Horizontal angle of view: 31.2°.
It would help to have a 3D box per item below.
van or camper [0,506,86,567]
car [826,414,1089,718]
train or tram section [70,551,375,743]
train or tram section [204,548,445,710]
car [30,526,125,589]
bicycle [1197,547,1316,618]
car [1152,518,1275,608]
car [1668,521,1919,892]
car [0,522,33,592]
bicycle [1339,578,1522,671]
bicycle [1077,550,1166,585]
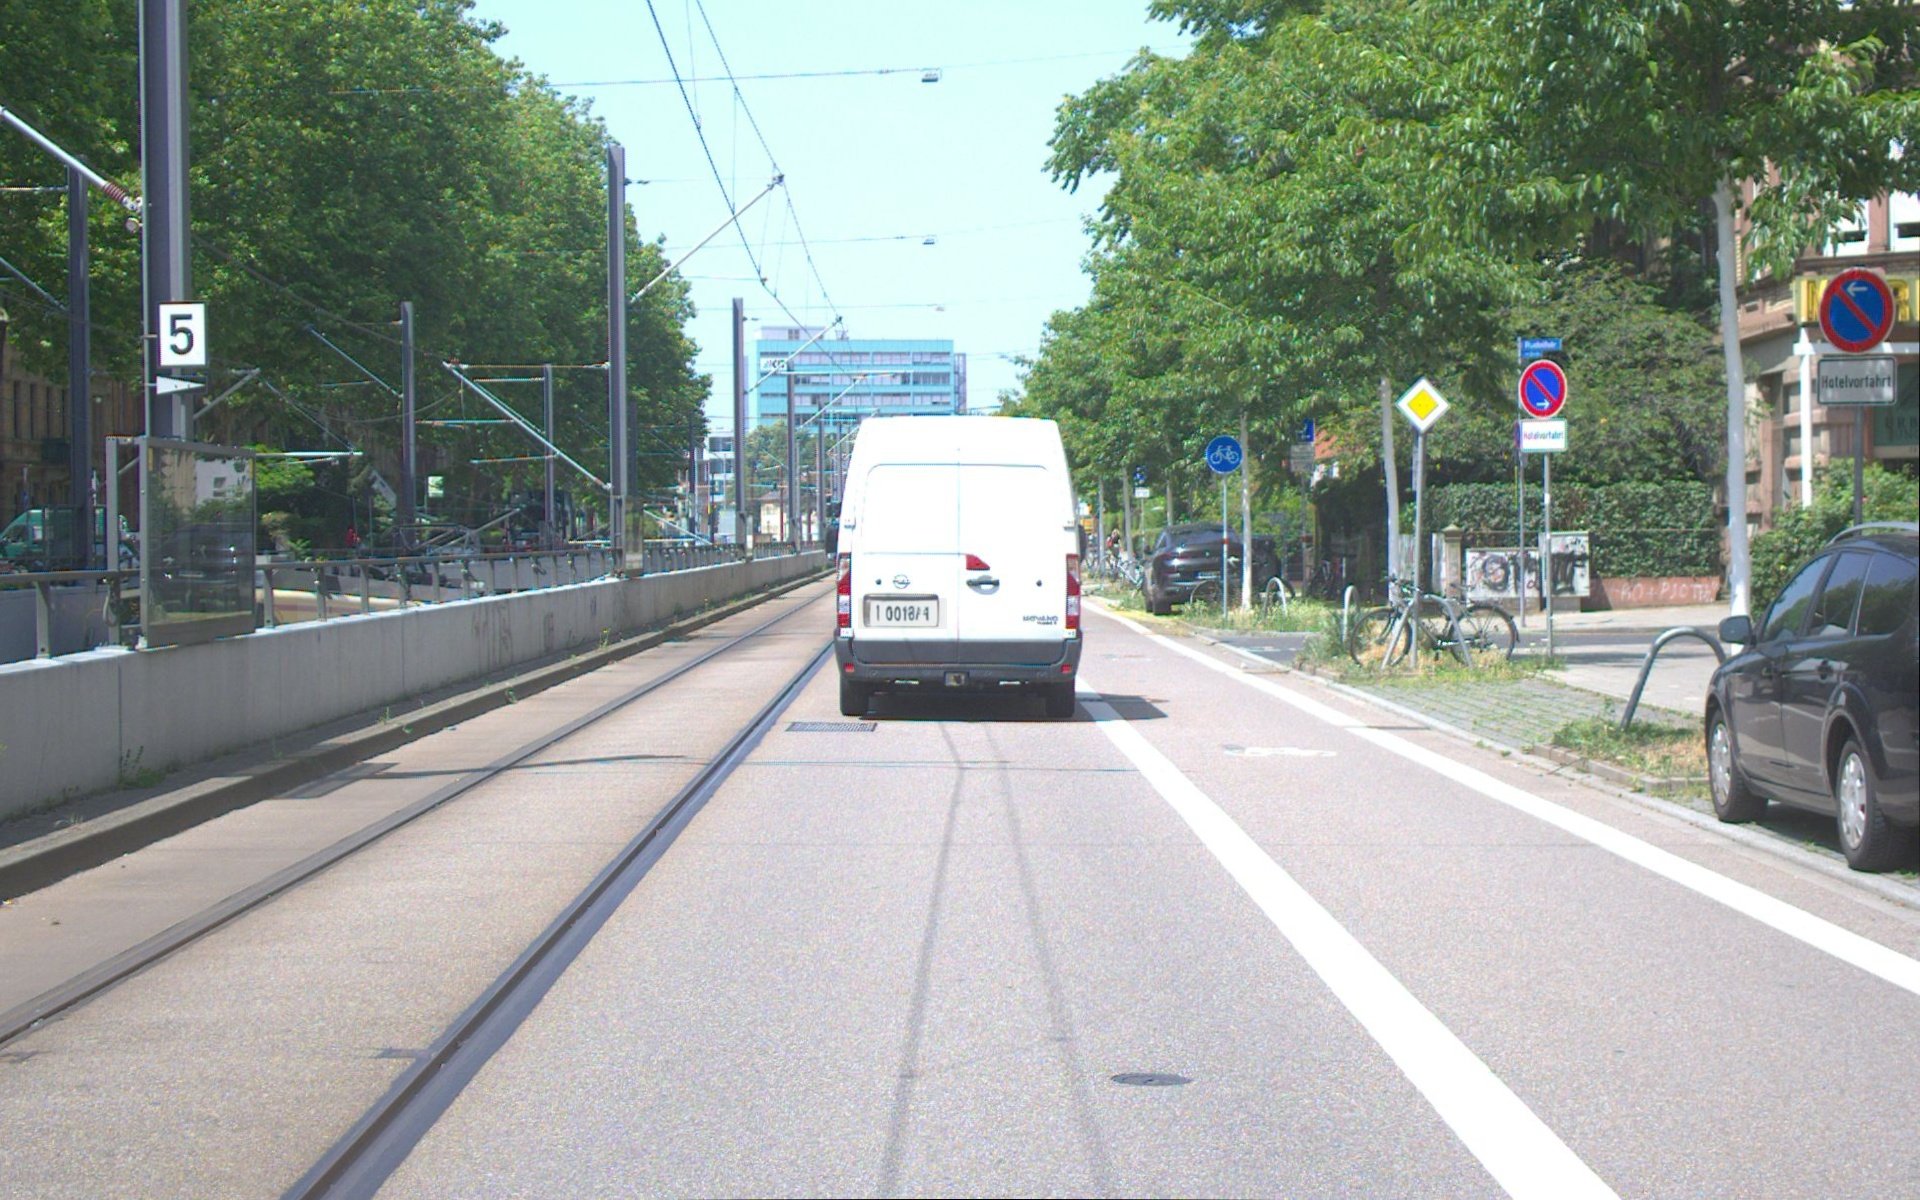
[{"bbox_3d":[-31.304,-2.124,114.397,3.986,2.007,2.000,0,1,-3],"label":"van or camper"},{"bbox_3d":[-0.058,-0.323,30.286,2.117,2.450,5.055,0,1,-1],"label":"car"},{"bbox_3d":[-10.519,0.566,49.912,2.729,2.500,8.517,0,1,-1],"label":"train or tram section"},{"bbox_3d":[-10.623,0.401,58.224,2.729,2.500,8.004,0,1,-1],"label":"train or tram section"},{"bbox_3d":[-20.309,-0.981,79.178,1.373,1.419,3.088,0,1,0],"label":"car"},{"bbox_3d":[4.905,-0.291,56.924,1.887,1.178,0.640,0,1,-2],"label":"bicycle"},{"bbox_3d":[4.803,-0.721,65.655,2.157,1.664,4.000,0,1,2],"label":"car"},{"bbox_3d":[4.729,0.398,16.389,1.729,1.530,4.405,0,1,-1],"label":"car"},{"bbox_3d":[-20.576,-0.907,71.336,1.592,1.443,4.000,0,1,0],"label":"car"},{"bbox_3d":[4.900,0.253,35.823,1.842,0.950,0.503,0,1,2],"label":"bicycle"},{"bbox_3d":[4.066,-0.817,85.900,1.560,0.823,3.998,0,1,13],"label":"bicycle"}]
